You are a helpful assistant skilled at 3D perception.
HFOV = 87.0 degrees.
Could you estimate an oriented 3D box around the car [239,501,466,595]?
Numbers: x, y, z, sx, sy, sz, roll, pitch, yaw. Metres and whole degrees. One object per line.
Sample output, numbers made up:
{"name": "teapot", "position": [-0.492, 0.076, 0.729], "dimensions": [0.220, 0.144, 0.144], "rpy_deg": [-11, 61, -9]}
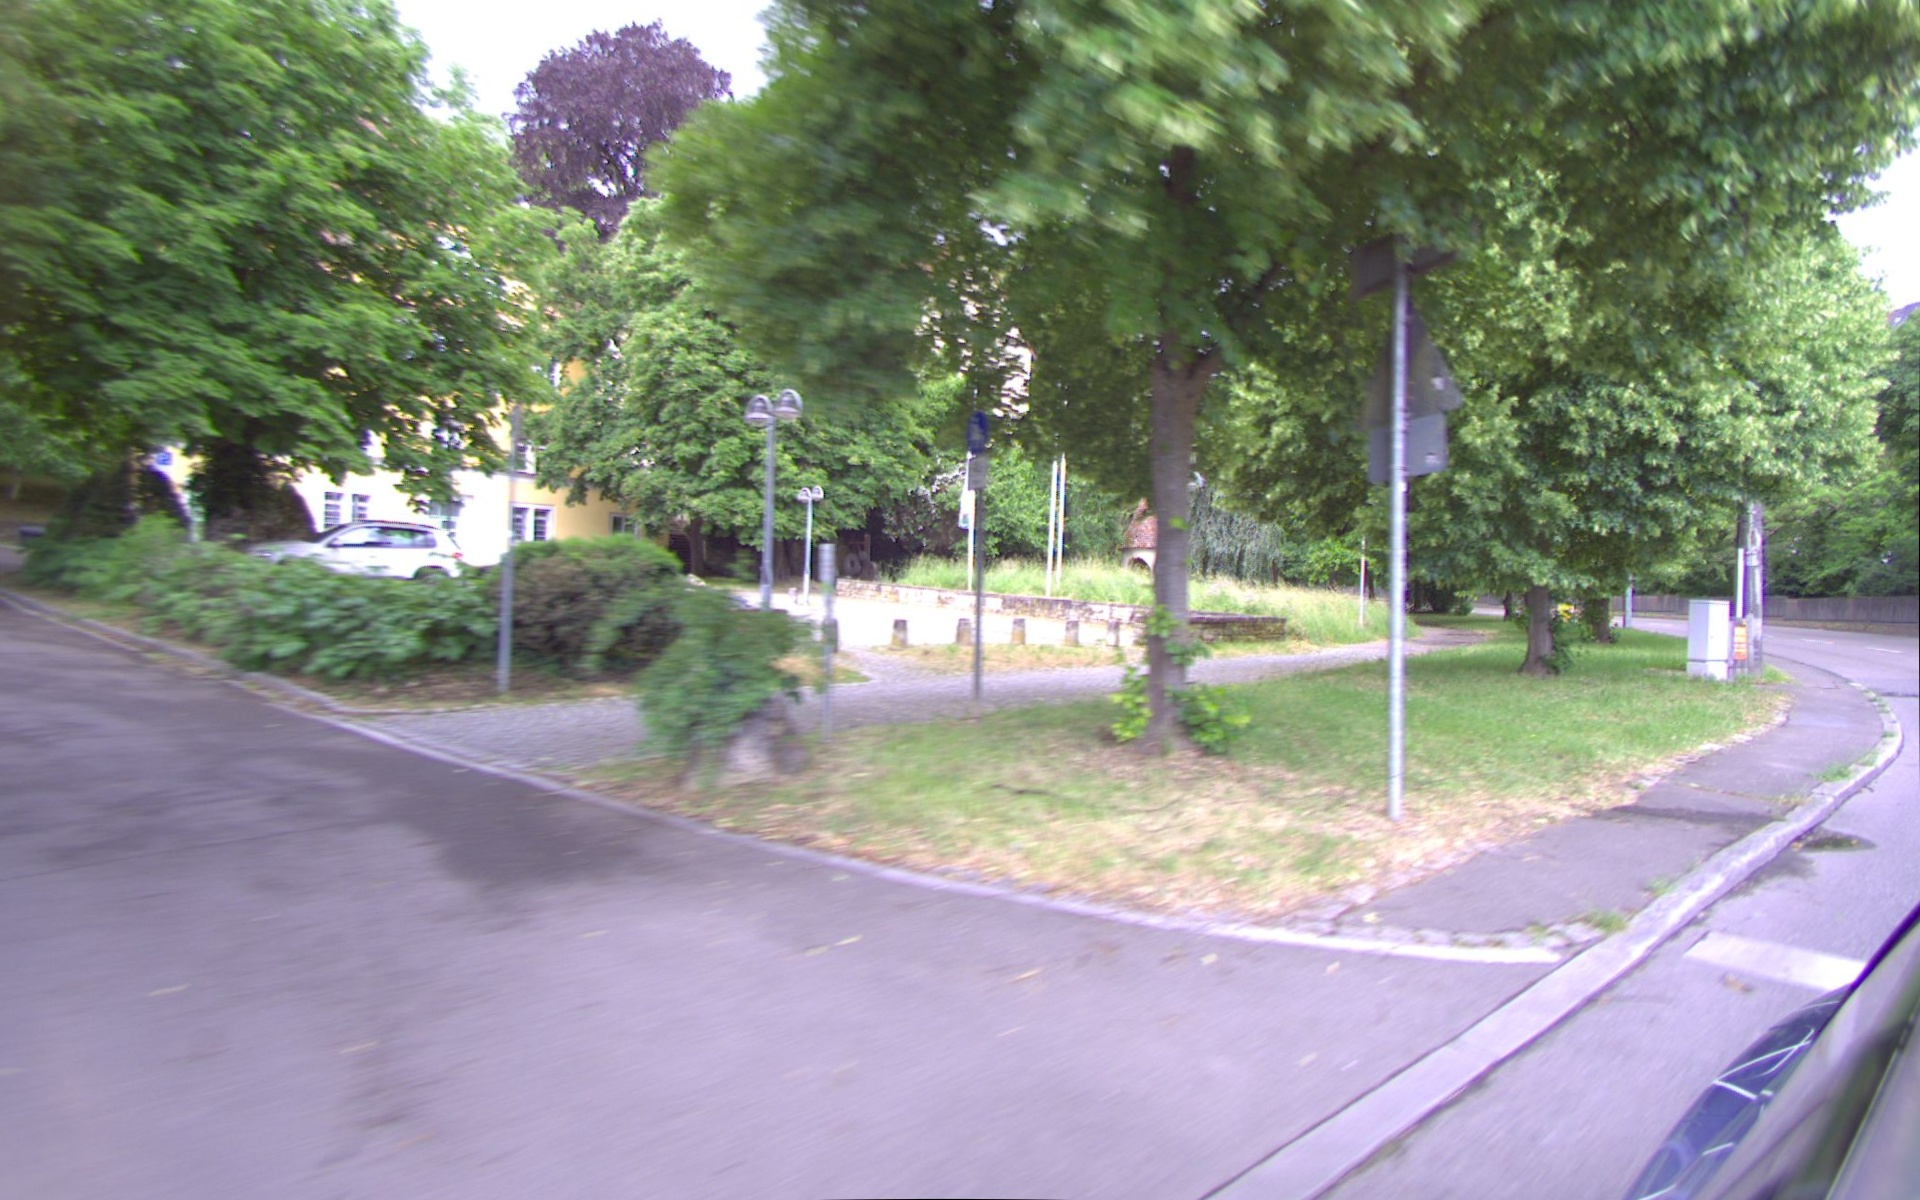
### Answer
{"name": "car", "position": [-13.360, -1.116, 22.358], "dimensions": [3.931, 1.670, 1.998], "rpy_deg": [3, 3, -42]}

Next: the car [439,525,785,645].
{"name": "car", "position": [-5.030, -0.181, 14.964], "dimensions": [4.386, 1.449, 1.911], "rpy_deg": [3, 1, -41]}
